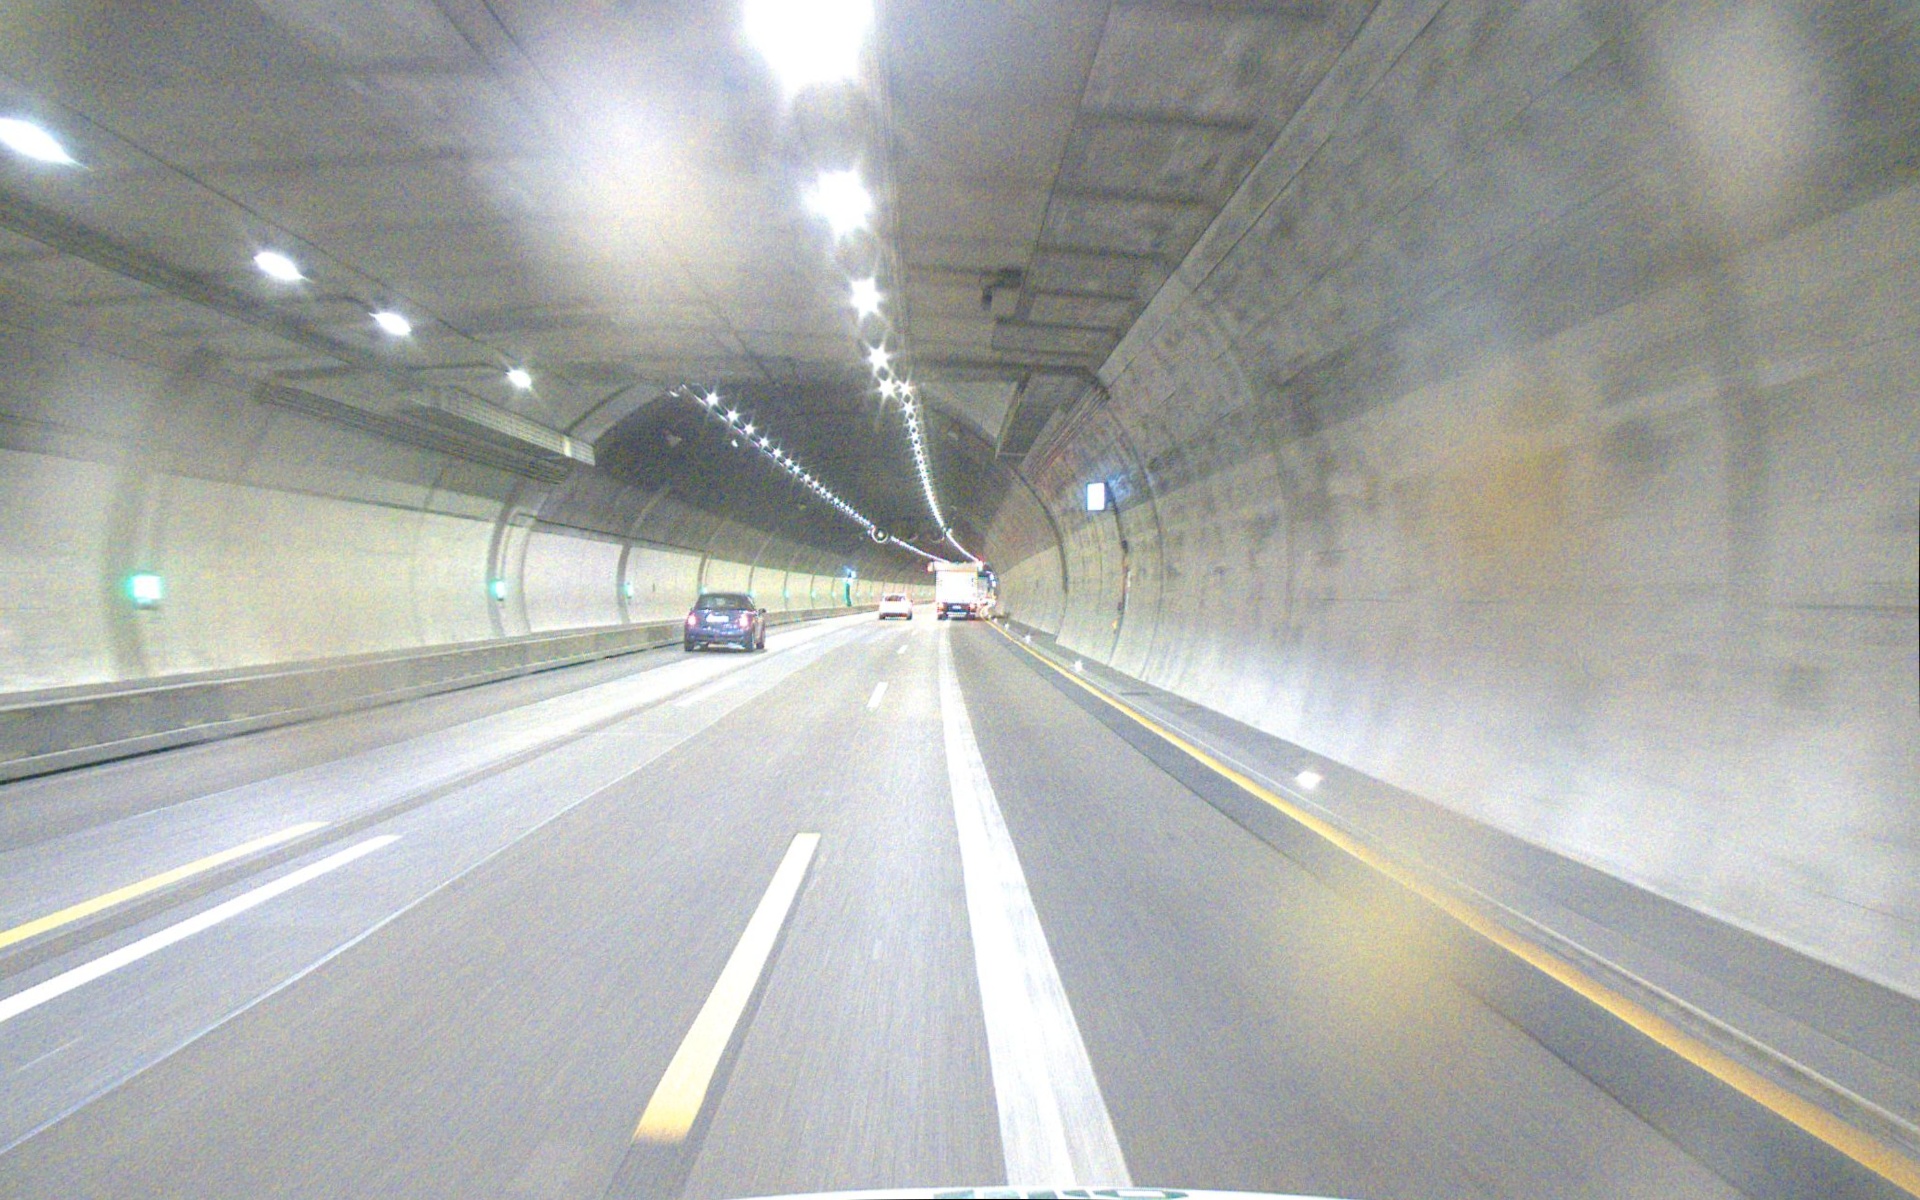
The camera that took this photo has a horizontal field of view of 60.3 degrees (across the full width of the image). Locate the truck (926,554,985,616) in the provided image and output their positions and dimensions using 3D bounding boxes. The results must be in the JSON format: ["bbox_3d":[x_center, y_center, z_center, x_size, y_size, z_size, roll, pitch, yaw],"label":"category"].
[{"bbox_3d":[-0.292,-0.925,103.963,3.519,3.714,10.722,0,0,0],"label":"truck"}]

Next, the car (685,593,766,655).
[{"bbox_3d":[-5.739,0.563,40.822,1.655,1.442,3.920,0,0,-3],"label":"car"}]

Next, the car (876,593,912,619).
[{"bbox_3d":[-3.830,0.331,95.098,1.954,1.437,4.739,0,0,-4],"label":"car"}]
